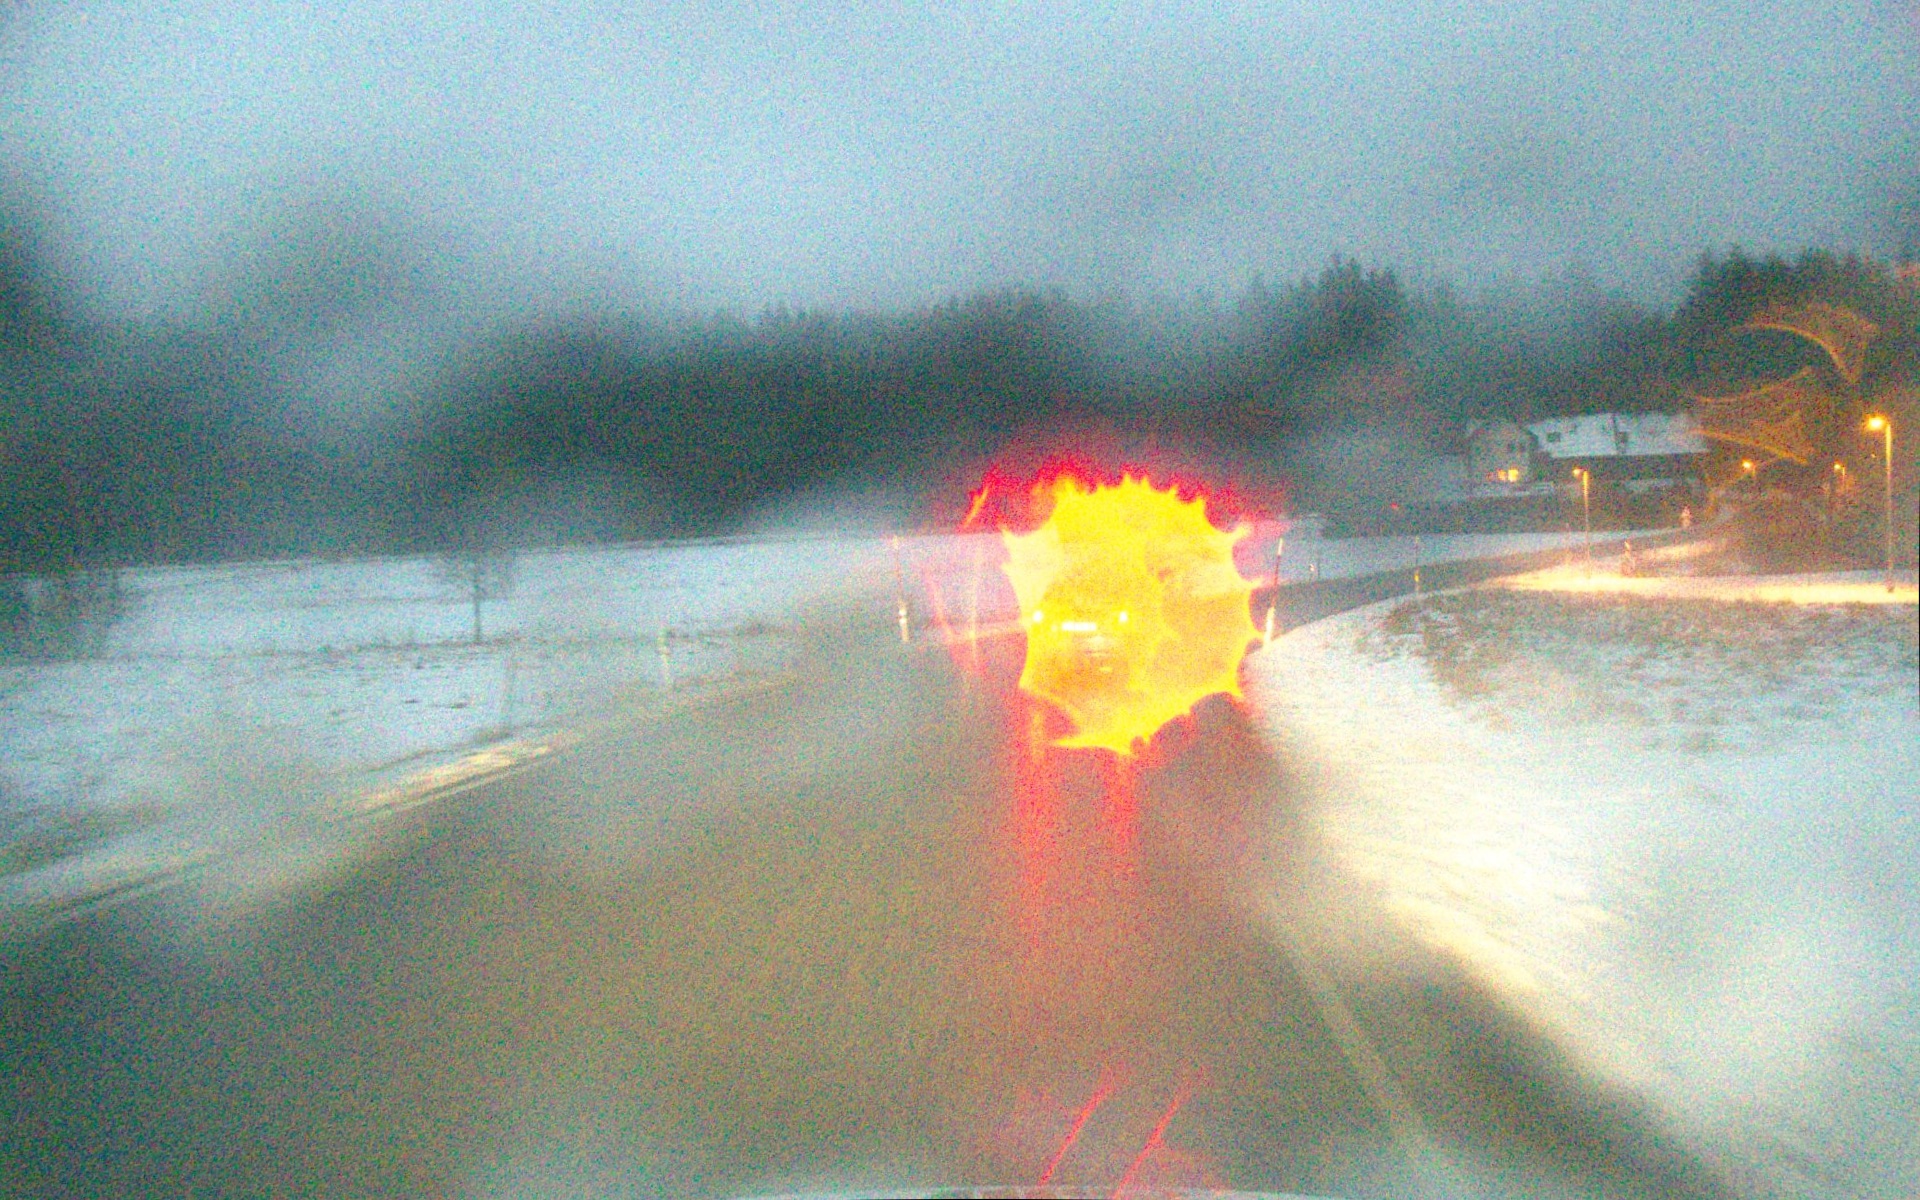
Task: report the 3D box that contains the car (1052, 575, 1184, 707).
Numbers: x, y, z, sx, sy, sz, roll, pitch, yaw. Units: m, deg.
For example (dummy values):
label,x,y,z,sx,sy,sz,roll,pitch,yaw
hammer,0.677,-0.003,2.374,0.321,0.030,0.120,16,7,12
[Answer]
label,x,y,z,sx,sy,sz,roll,pitch,yaw
car,2.487,0.576,25.345,1.783,1.828,3.581,-2,0,8
